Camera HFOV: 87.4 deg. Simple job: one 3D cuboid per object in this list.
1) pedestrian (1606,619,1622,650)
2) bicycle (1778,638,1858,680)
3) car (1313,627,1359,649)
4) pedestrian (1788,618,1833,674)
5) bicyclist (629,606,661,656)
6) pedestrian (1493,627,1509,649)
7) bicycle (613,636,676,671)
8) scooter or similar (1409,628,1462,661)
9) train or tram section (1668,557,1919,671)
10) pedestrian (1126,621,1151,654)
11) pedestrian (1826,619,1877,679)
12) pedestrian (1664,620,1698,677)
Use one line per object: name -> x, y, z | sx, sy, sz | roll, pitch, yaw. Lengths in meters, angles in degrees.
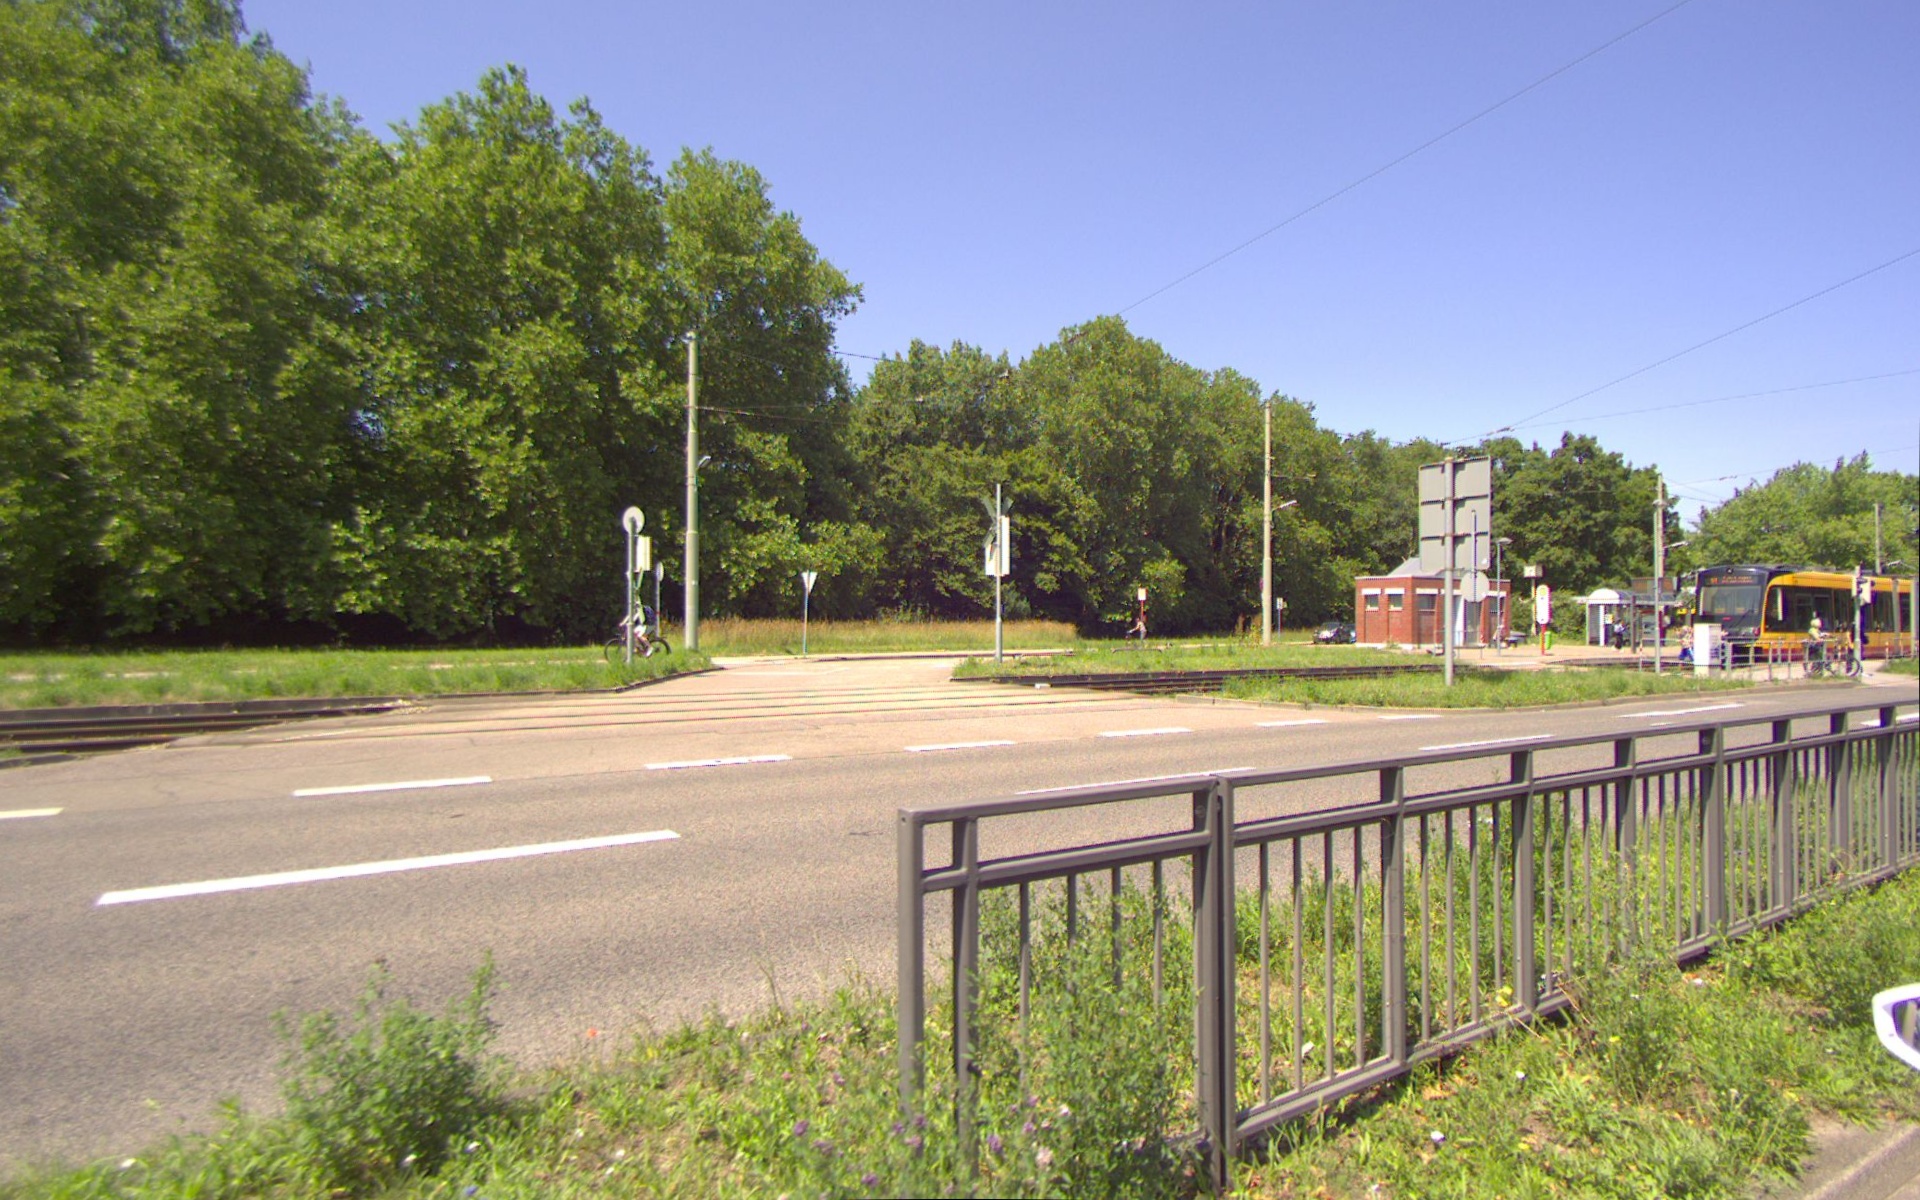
pedestrian -> 30.996, 1.633, 47.614 | 0.520, 1.455, 0.458 | 1, -1, -34
bicycle -> 25.381, 1.721, 29.737 | 0.239, 1.172, 1.856 | 1, -1, -27
car -> 26.312, 2.632, 70.302 | 1.968, 1.486, 3.985 | 0, -1, 37
pedestrian -> 25.395, 1.357, 29.992 | 0.696, 1.650, 0.816 | 1, -1, -27
bicyclist -> -8.535, 0.833, 27.213 | 0.674, 1.353, 0.504 | 1, -1, -38
pedestrian -> 26.235, 1.838, 48.725 | 0.516, 1.032, 0.479 | 1, -1, -30
bicycle -> -8.534, 1.437, 27.204 | 1.552, 0.913, 0.504 | 1, -1, -38
scooter or similar -> 17.273, 1.608, 36.530 | 1.639, 1.142, 0.613 | 0, -1, 12
train or tram section -> 41.018, 0.770, 44.096 | 37.113, 3.717, 2.772 | 1, -1, -33
pedestrian -> 9.543, 2.005, 53.646 | 1.245, 1.724, 0.518 | 0, -1, 13
pedestrian -> 27.246, 1.485, 30.701 | 0.691, 1.820, 0.961 | 1, -1, -3
pedestrian -> 20.264, 1.356, 28.231 | 0.527, 1.561, 0.869 | 0, -1, 18
